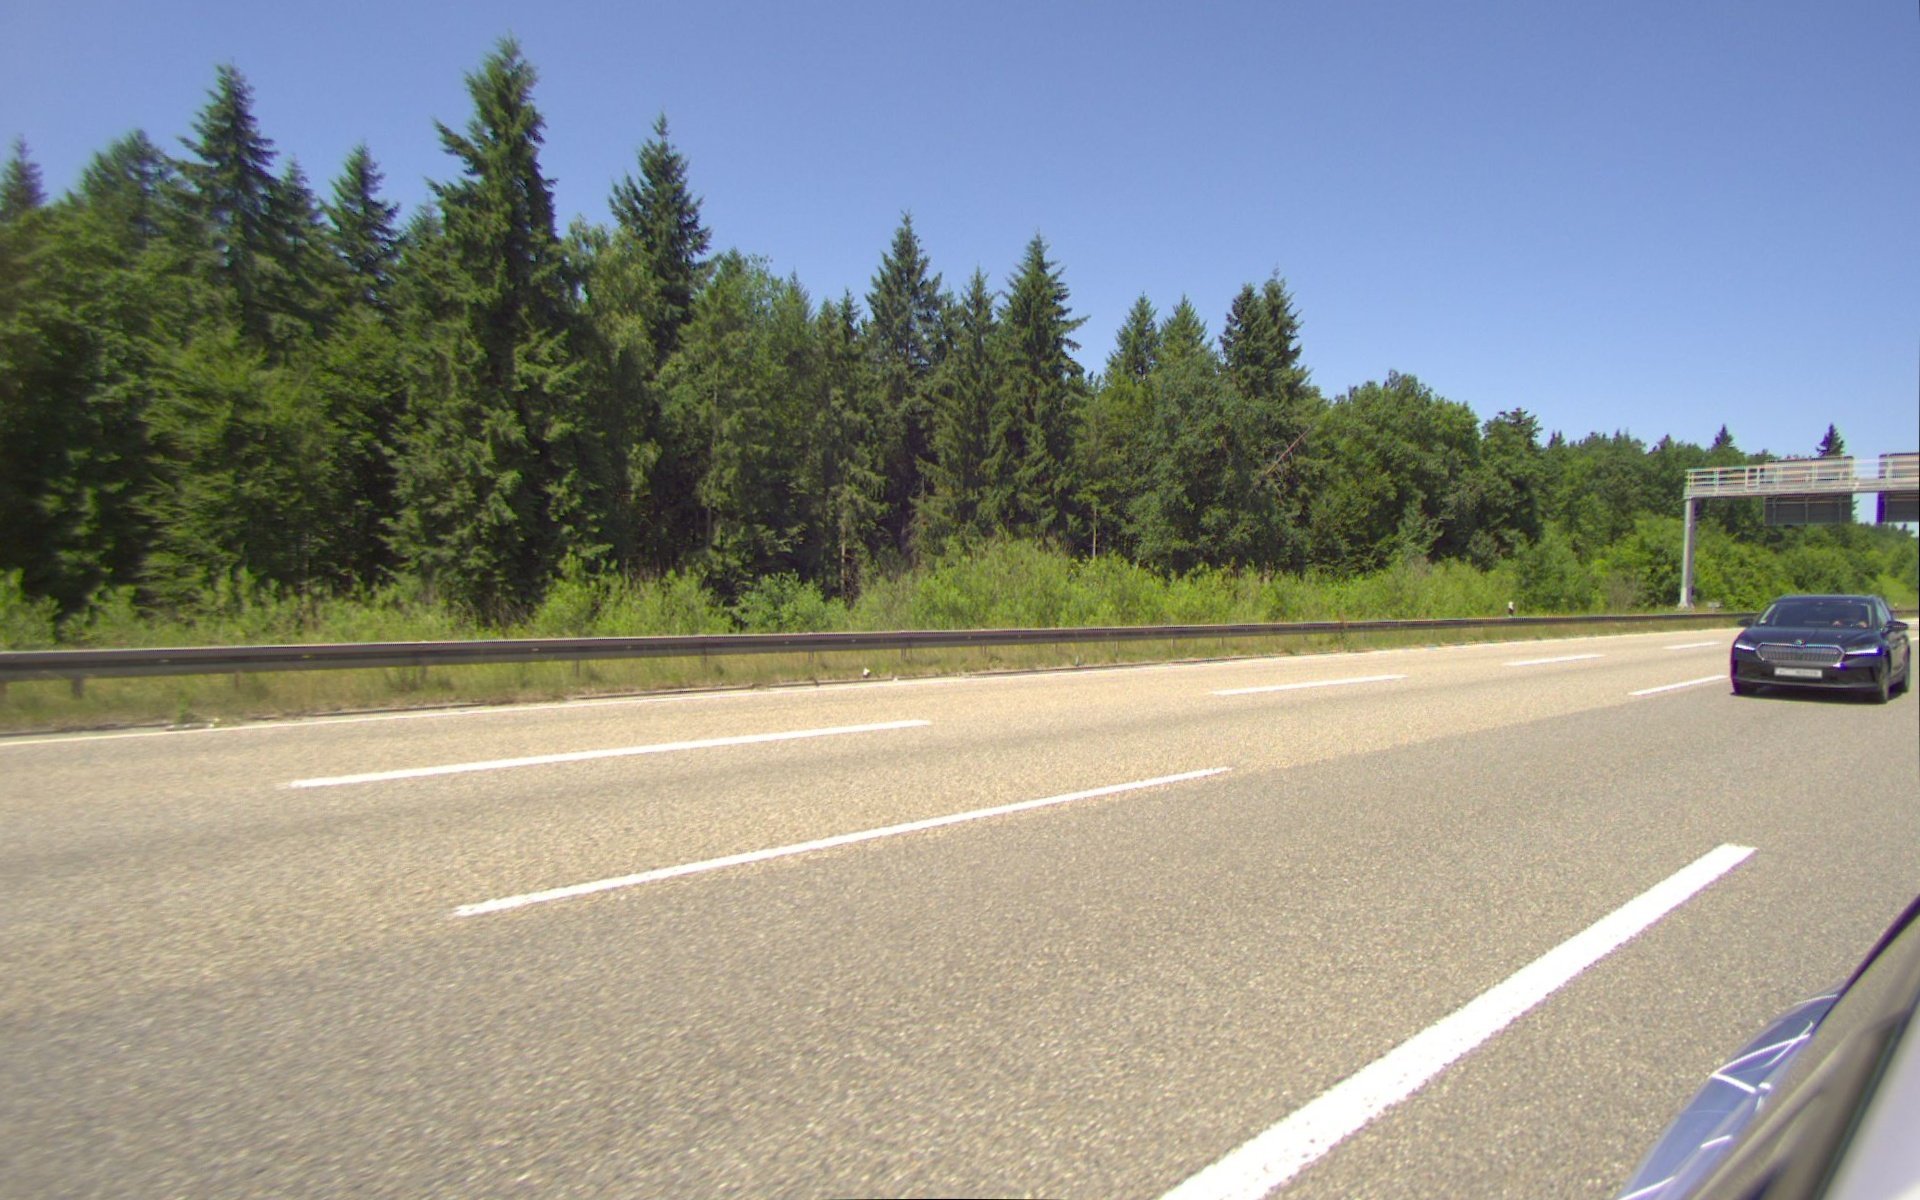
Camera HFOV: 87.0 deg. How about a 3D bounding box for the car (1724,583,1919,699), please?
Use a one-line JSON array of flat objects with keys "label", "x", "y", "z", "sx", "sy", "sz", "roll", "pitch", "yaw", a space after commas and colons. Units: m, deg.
[{"label": "car", "x": 14.254, "y": 0.650, "z": 16.471, "sx": 4.377, "sy": 1.640, "sz": 1.988, "roll": 2, "pitch": -2, "yaw": -40}]
